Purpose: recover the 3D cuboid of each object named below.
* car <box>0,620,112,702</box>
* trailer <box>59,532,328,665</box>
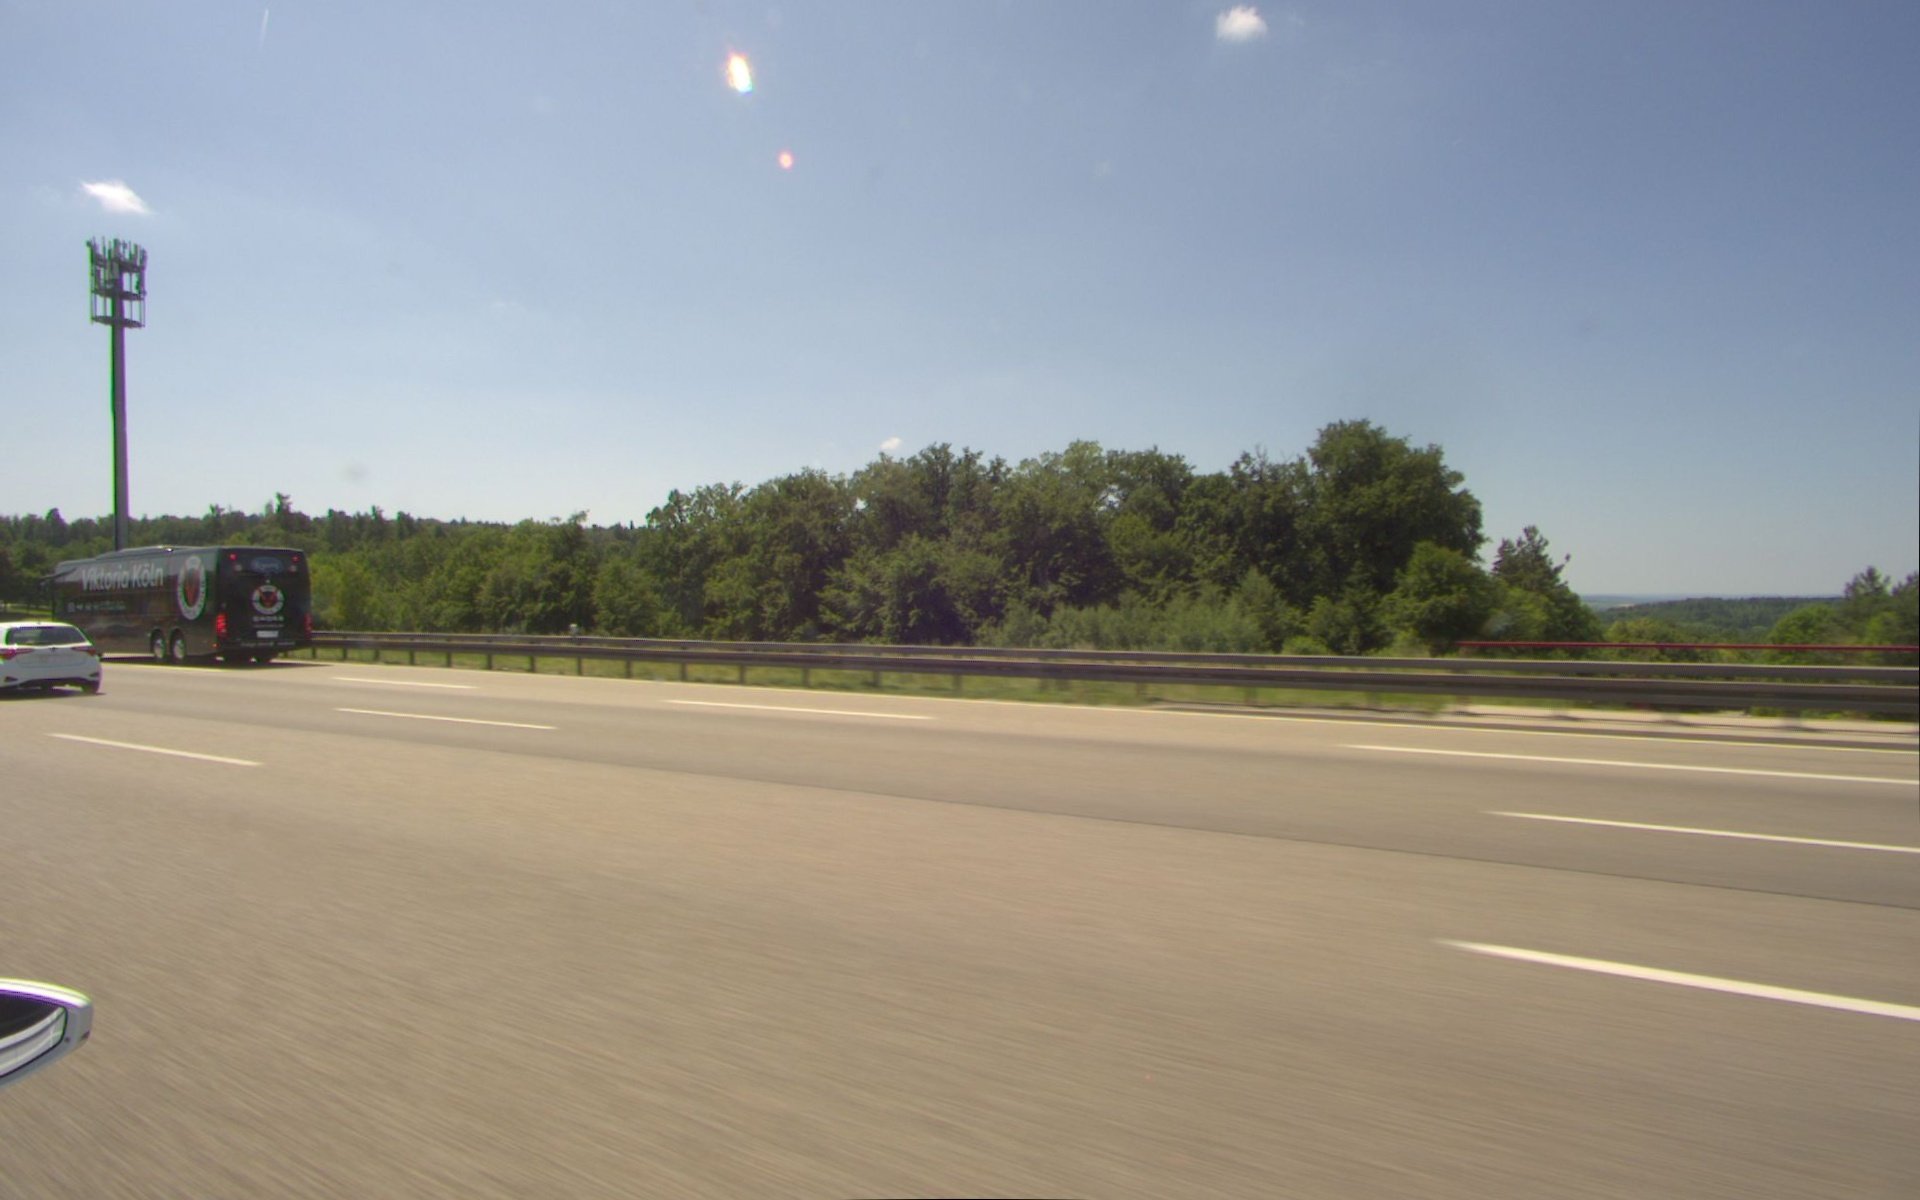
[{"bbox_3d":[-19.722,1.205,20.998,4.312,1.453,1.662,-1,3,32],"label":"car"},{"bbox_3d":[-25.527,0.061,32.908,13.355,3.736,2.850,-1,0,34],"label":"trailer"}]
